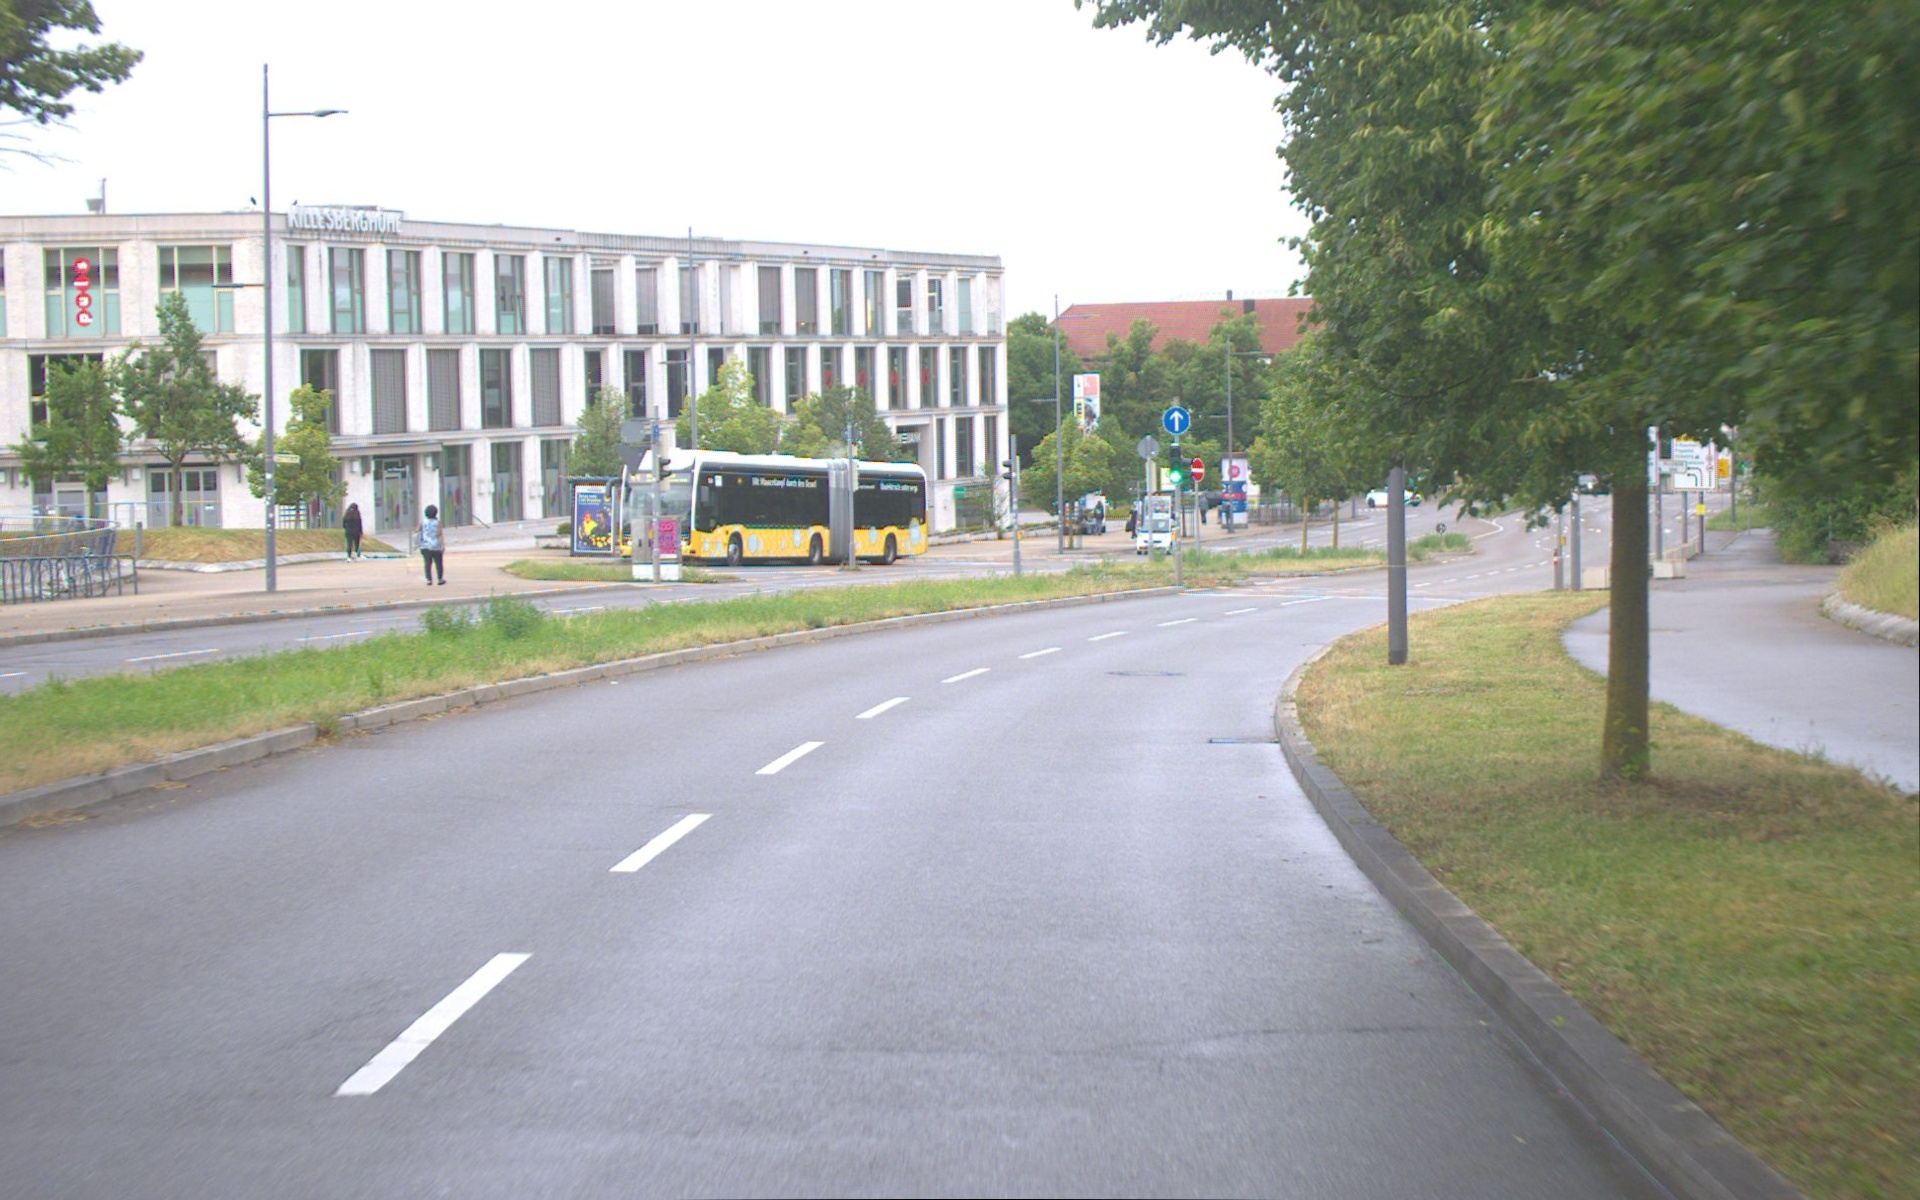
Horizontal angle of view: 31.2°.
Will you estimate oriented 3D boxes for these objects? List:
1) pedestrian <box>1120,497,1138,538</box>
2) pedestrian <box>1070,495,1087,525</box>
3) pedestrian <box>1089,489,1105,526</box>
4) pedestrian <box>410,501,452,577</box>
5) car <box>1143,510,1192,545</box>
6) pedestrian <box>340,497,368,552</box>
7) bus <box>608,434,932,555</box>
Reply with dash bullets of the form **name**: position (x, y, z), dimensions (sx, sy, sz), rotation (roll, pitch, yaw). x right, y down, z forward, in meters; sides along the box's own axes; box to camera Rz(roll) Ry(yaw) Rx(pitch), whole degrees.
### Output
- **pedestrian**: position (8.044, -3.925, 163.672), dimensions (0.748, 1.940, 0.838), rotation (0, 0, -4)
- **pedestrian**: position (6.021, -4.577, 174.629), dimensions (0.835, 1.527, 0.751), rotation (0, 0, 1)
- **pedestrian**: position (6.935, -4.697, 174.214), dimensions (0.748, 1.846, 0.838), rotation (0, 0, -4)
- **pedestrian**: position (-11.092, -1.273, 72.085), dimensions (0.834, 1.568, 0.719), rotation (0, 0, -10)
- **car**: position (8.914, -3.103, 147.701), dimensions (1.479, 1.489, 2.528), rotation (0, 0, 20)
- **pedestrian**: position (-16.850, -2.085, 95.558), dimensions (0.682, 1.519, 0.719), rotation (0, 0, -4)
- **bus**: position (-5.570, -3.139, 107.567), dimensions (2.788, 3.345, 18.206), rotation (0, 0, 21)
